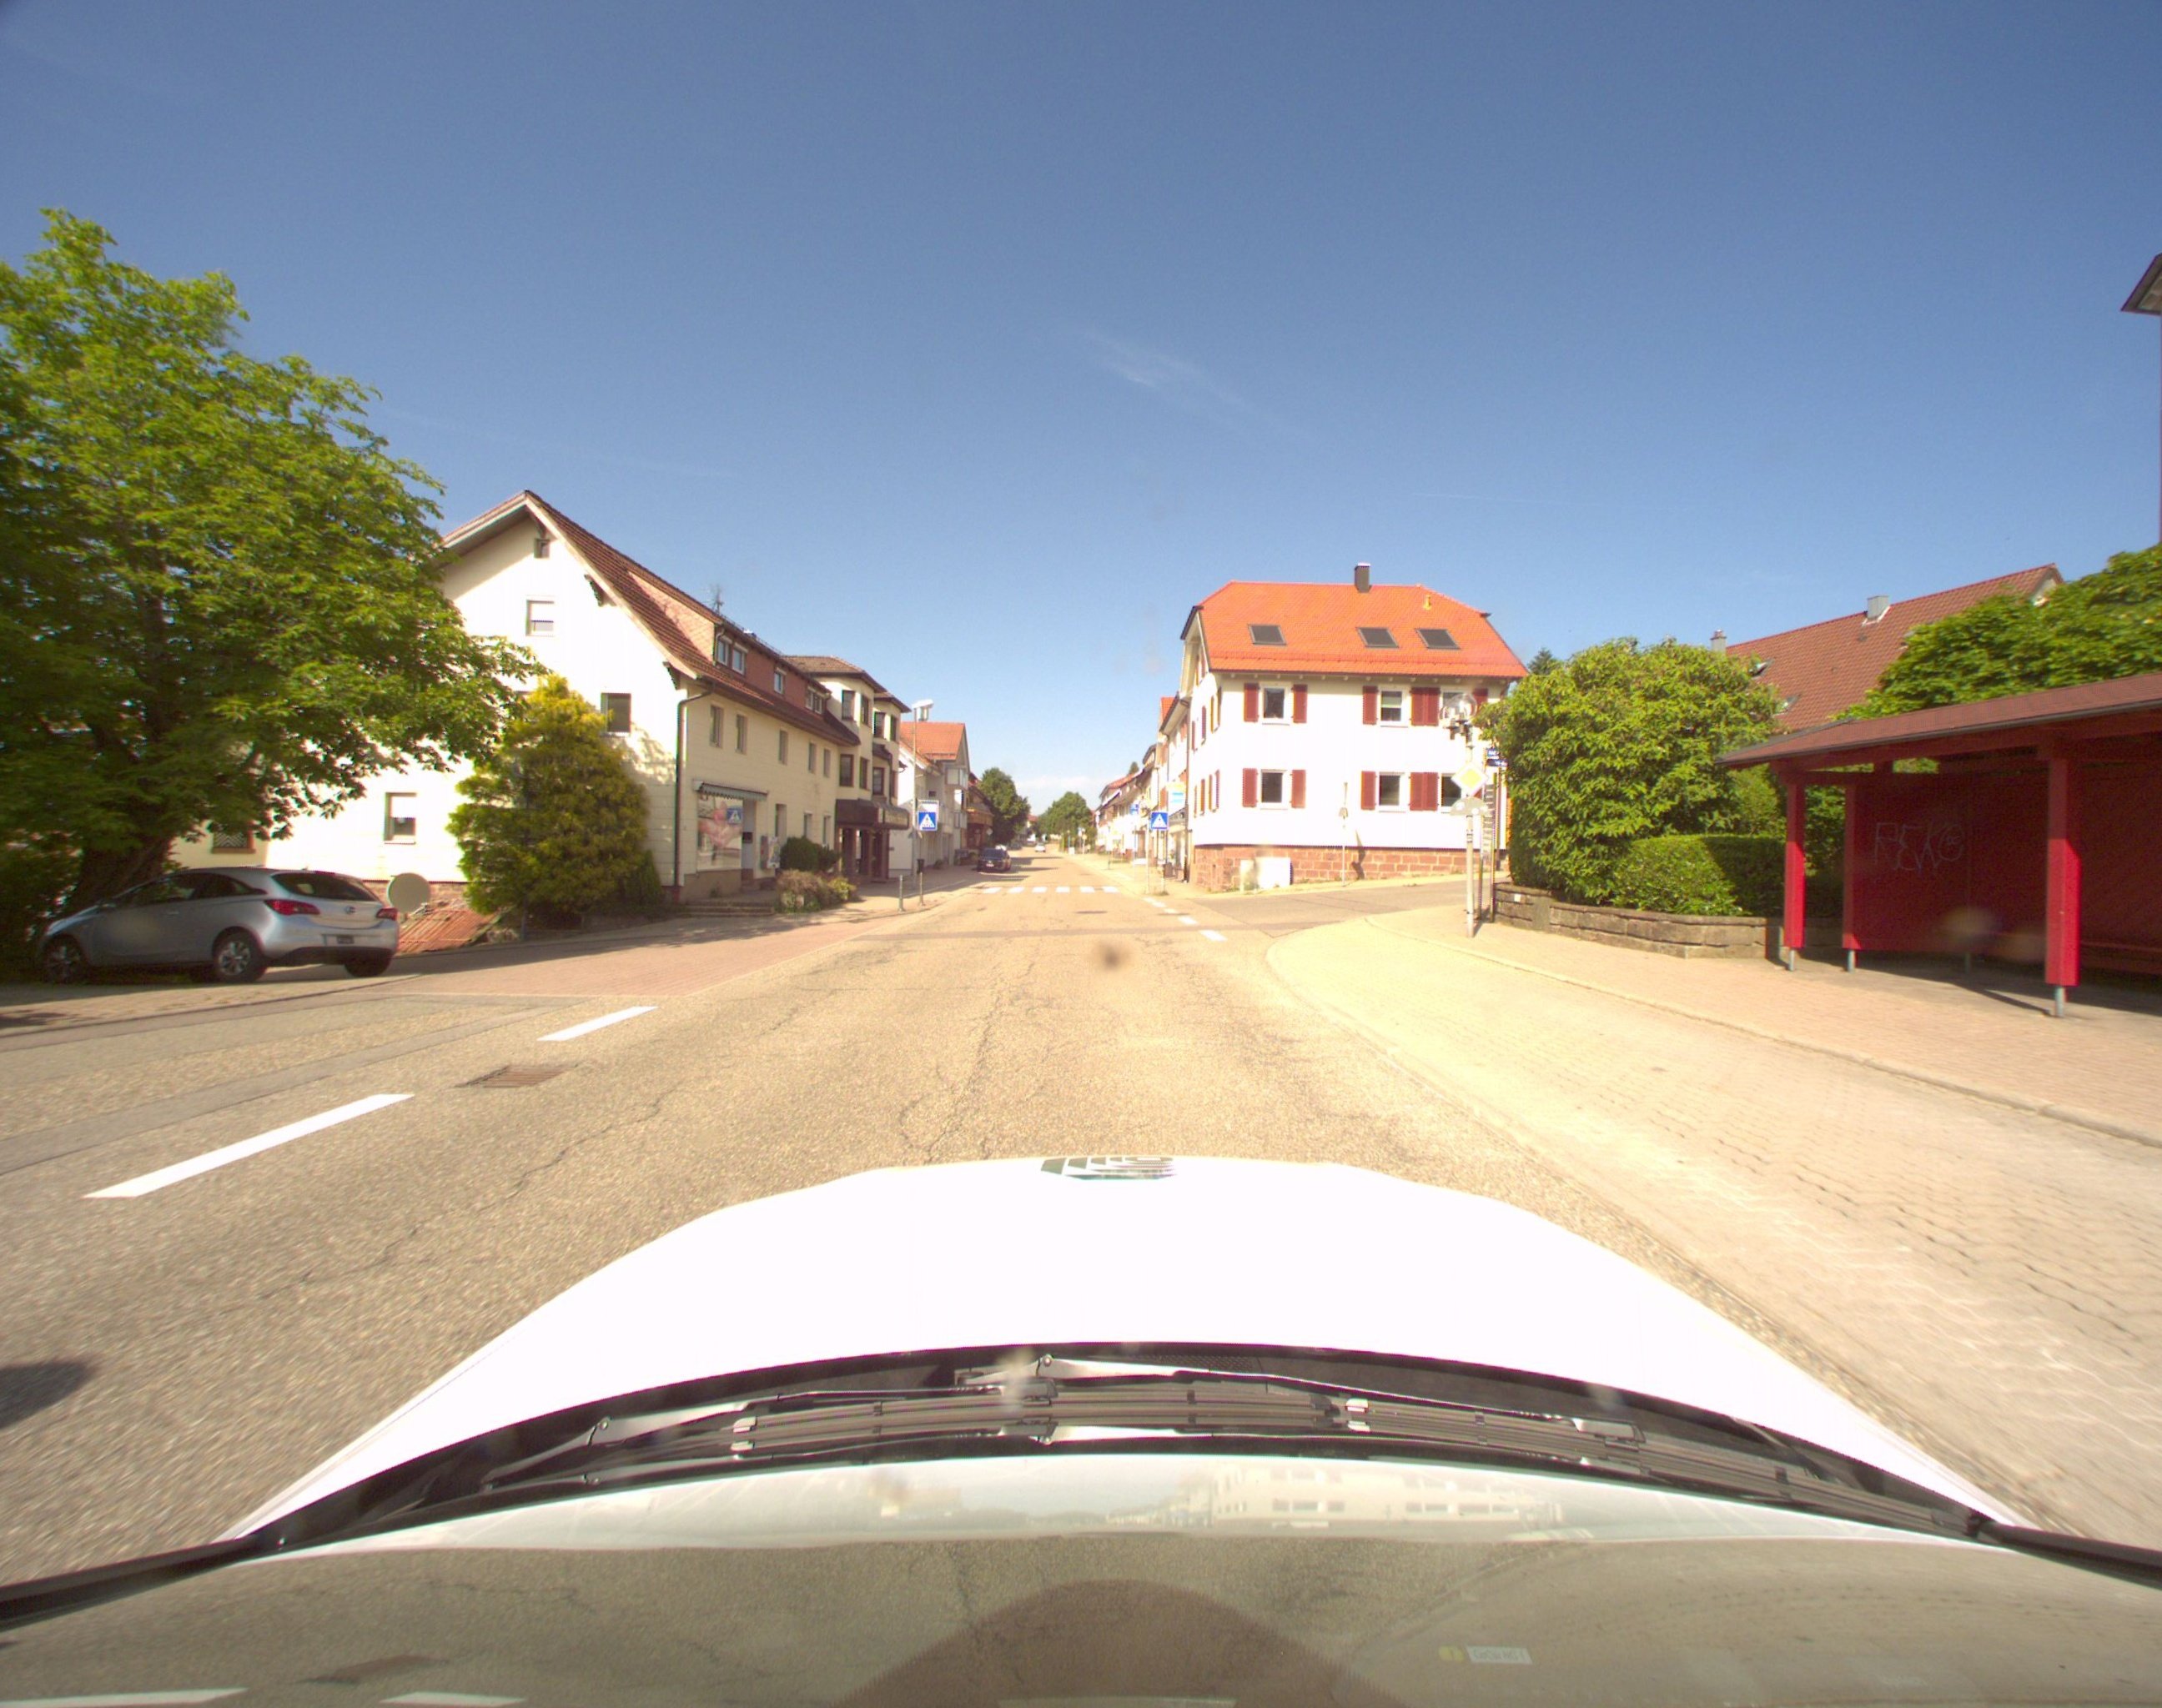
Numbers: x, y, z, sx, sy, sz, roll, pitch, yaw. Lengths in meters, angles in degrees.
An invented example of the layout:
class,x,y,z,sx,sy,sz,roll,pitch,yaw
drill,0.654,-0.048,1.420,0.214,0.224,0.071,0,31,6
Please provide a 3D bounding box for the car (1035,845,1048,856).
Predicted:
class,x,y,z,sx,sy,sz,roll,pitch,yaw
car,-7.882,-0.748,162.168,2.490,2.013,4.299,-2,0,-4

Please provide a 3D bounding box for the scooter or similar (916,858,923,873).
class,x,y,z,sx,sy,sz,roll,pitch,yaw
scooter or similar,-10.121,0.715,50.976,0.351,0.890,0.394,-2,0,-7

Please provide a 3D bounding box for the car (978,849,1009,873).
class,x,y,z,sx,sy,sz,roll,pitch,yaw
car,-6.064,0.475,56.576,1.667,1.533,3.535,4,0,0

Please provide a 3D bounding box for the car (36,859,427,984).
class,x,y,z,sx,sy,sz,roll,pitch,yaw
car,-11.241,0.926,10.910,3.734,1.455,1.823,-2,-5,12
